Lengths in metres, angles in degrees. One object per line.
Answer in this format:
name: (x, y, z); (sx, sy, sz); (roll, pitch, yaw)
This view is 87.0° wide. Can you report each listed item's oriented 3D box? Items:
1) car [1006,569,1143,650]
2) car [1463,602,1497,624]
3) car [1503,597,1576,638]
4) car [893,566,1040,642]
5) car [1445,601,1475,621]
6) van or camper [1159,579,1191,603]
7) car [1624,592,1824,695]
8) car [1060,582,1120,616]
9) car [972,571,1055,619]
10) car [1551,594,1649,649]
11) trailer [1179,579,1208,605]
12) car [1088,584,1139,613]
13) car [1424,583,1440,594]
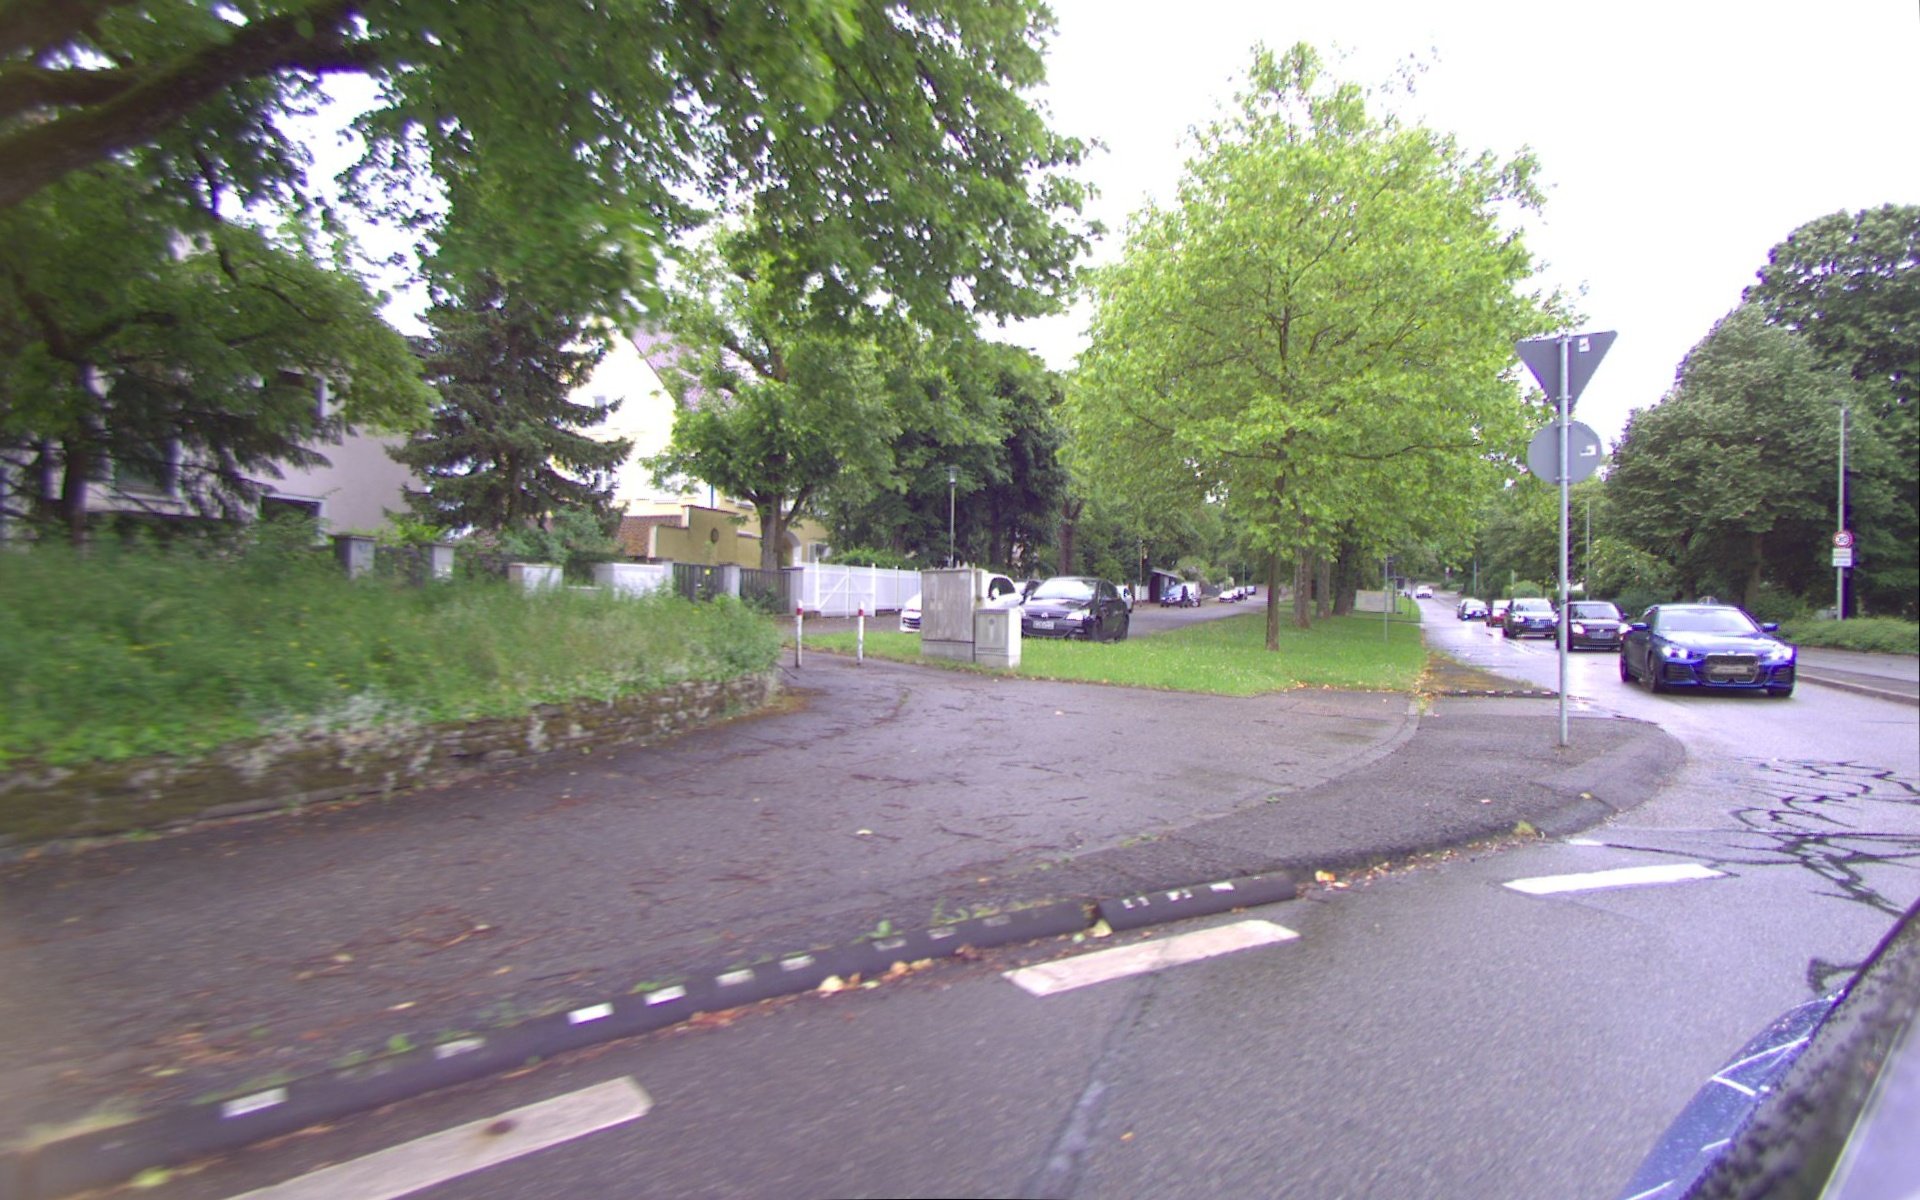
car: (2.588, 0.138, 21.794); (1.750, 1.489, 4.564); (2, 2, 22)
car: (37.204, 0.926, 72.344); (1.813, 1.498, 4.020); (-1, 0, 33)
car: (23.530, 0.683, 41.231); (2.010, 1.498, 4.037); (-1, 0, 22)
car: (0.268, 0.047, 22.561); (1.829, 1.489, 4.394); (1, 1, 21)
car: (39.208, 0.839, 79.328); (1.811, 1.498, 4.024); (-1, 0, 30)
van or camper: (16.826, -0.708, 79.040); (1.973, 1.831, 4.748); (-1, 0, 18)
car: (12.758, 0.645, 17.198); (1.807, 1.498, 4.034); (-1, 0, 24)
car: (6.160, -0.055, 47.687); (1.974, 1.489, 4.099); (-1, 0, 19)
car: (1.972, -0.178, 36.076); (1.743, 1.489, 4.330); (-4, -1, 19)
car: (19.459, 0.616, 30.936); (1.806, 1.498, 4.037); (-1, 0, 22)
trailer: (20.359, -0.715, 88.079); (1.750, 2.143, 5.159); (-1, 0, 20)
car: (8.345, -0.081, 54.664); (1.974, 1.467, 4.099); (-1, 0, 19)
car: (65.081, -1.583, 139.562); (1.810, 1.498, 4.028); (-1, 0, 28)
